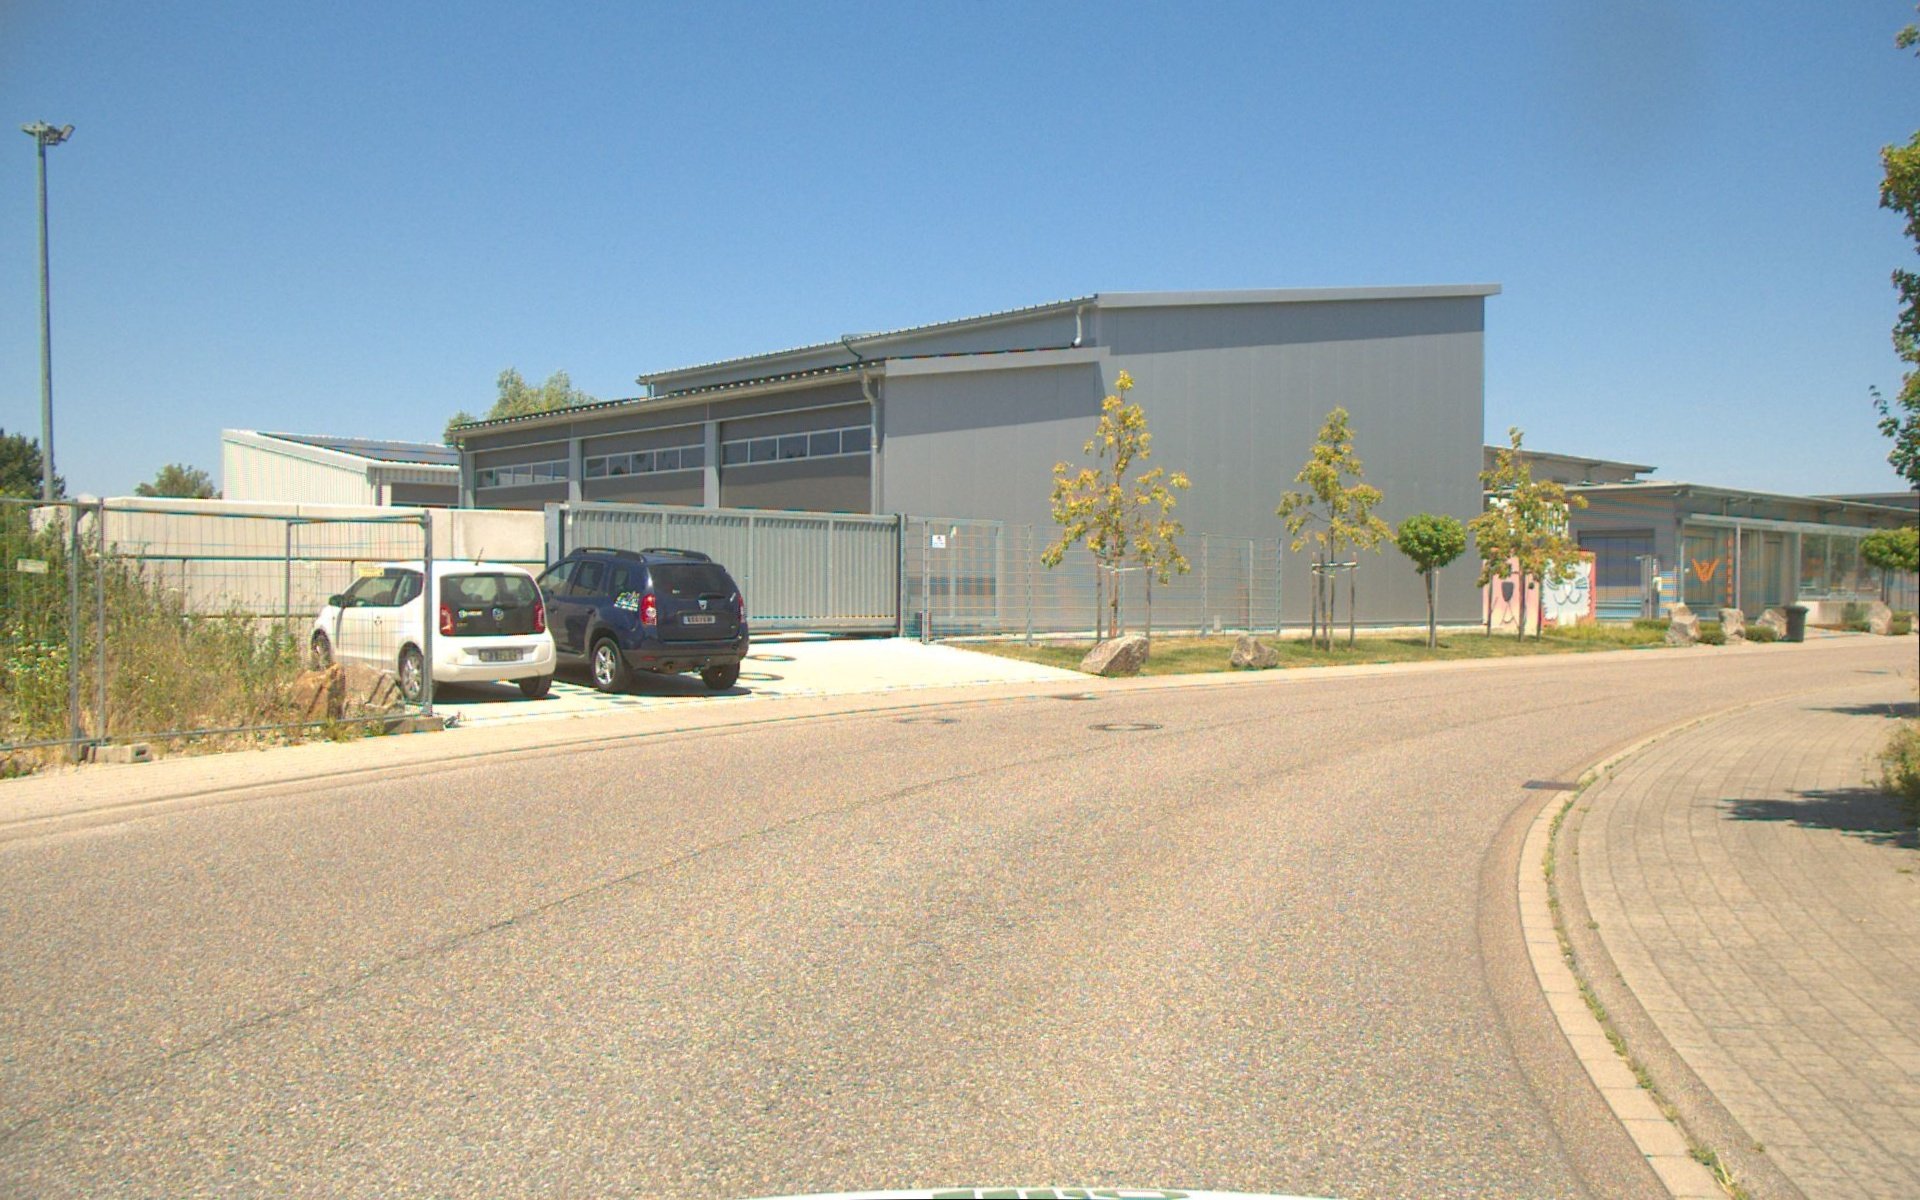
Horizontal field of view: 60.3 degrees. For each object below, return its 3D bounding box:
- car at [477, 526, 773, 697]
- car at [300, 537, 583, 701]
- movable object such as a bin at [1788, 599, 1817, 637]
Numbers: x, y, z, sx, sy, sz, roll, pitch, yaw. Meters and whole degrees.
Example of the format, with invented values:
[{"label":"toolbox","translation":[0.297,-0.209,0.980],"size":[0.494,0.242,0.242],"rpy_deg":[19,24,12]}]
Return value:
[{"label":"car","translation":[-4.327,0.071,20.928],"size":[1.767,1.687,4.114],"rpy_deg":[1,5,-42]},{"label":"car","translation":[-6.033,0.159,19.085],"size":[1.768,1.486,3.319],"rpy_deg":[1,5,-44]},{"label":"movable object such as a bin","translation":[22.042,0.472,43.281],"size":[0.562,0.966,0.509],"rpy_deg":[1,1,42]}]
